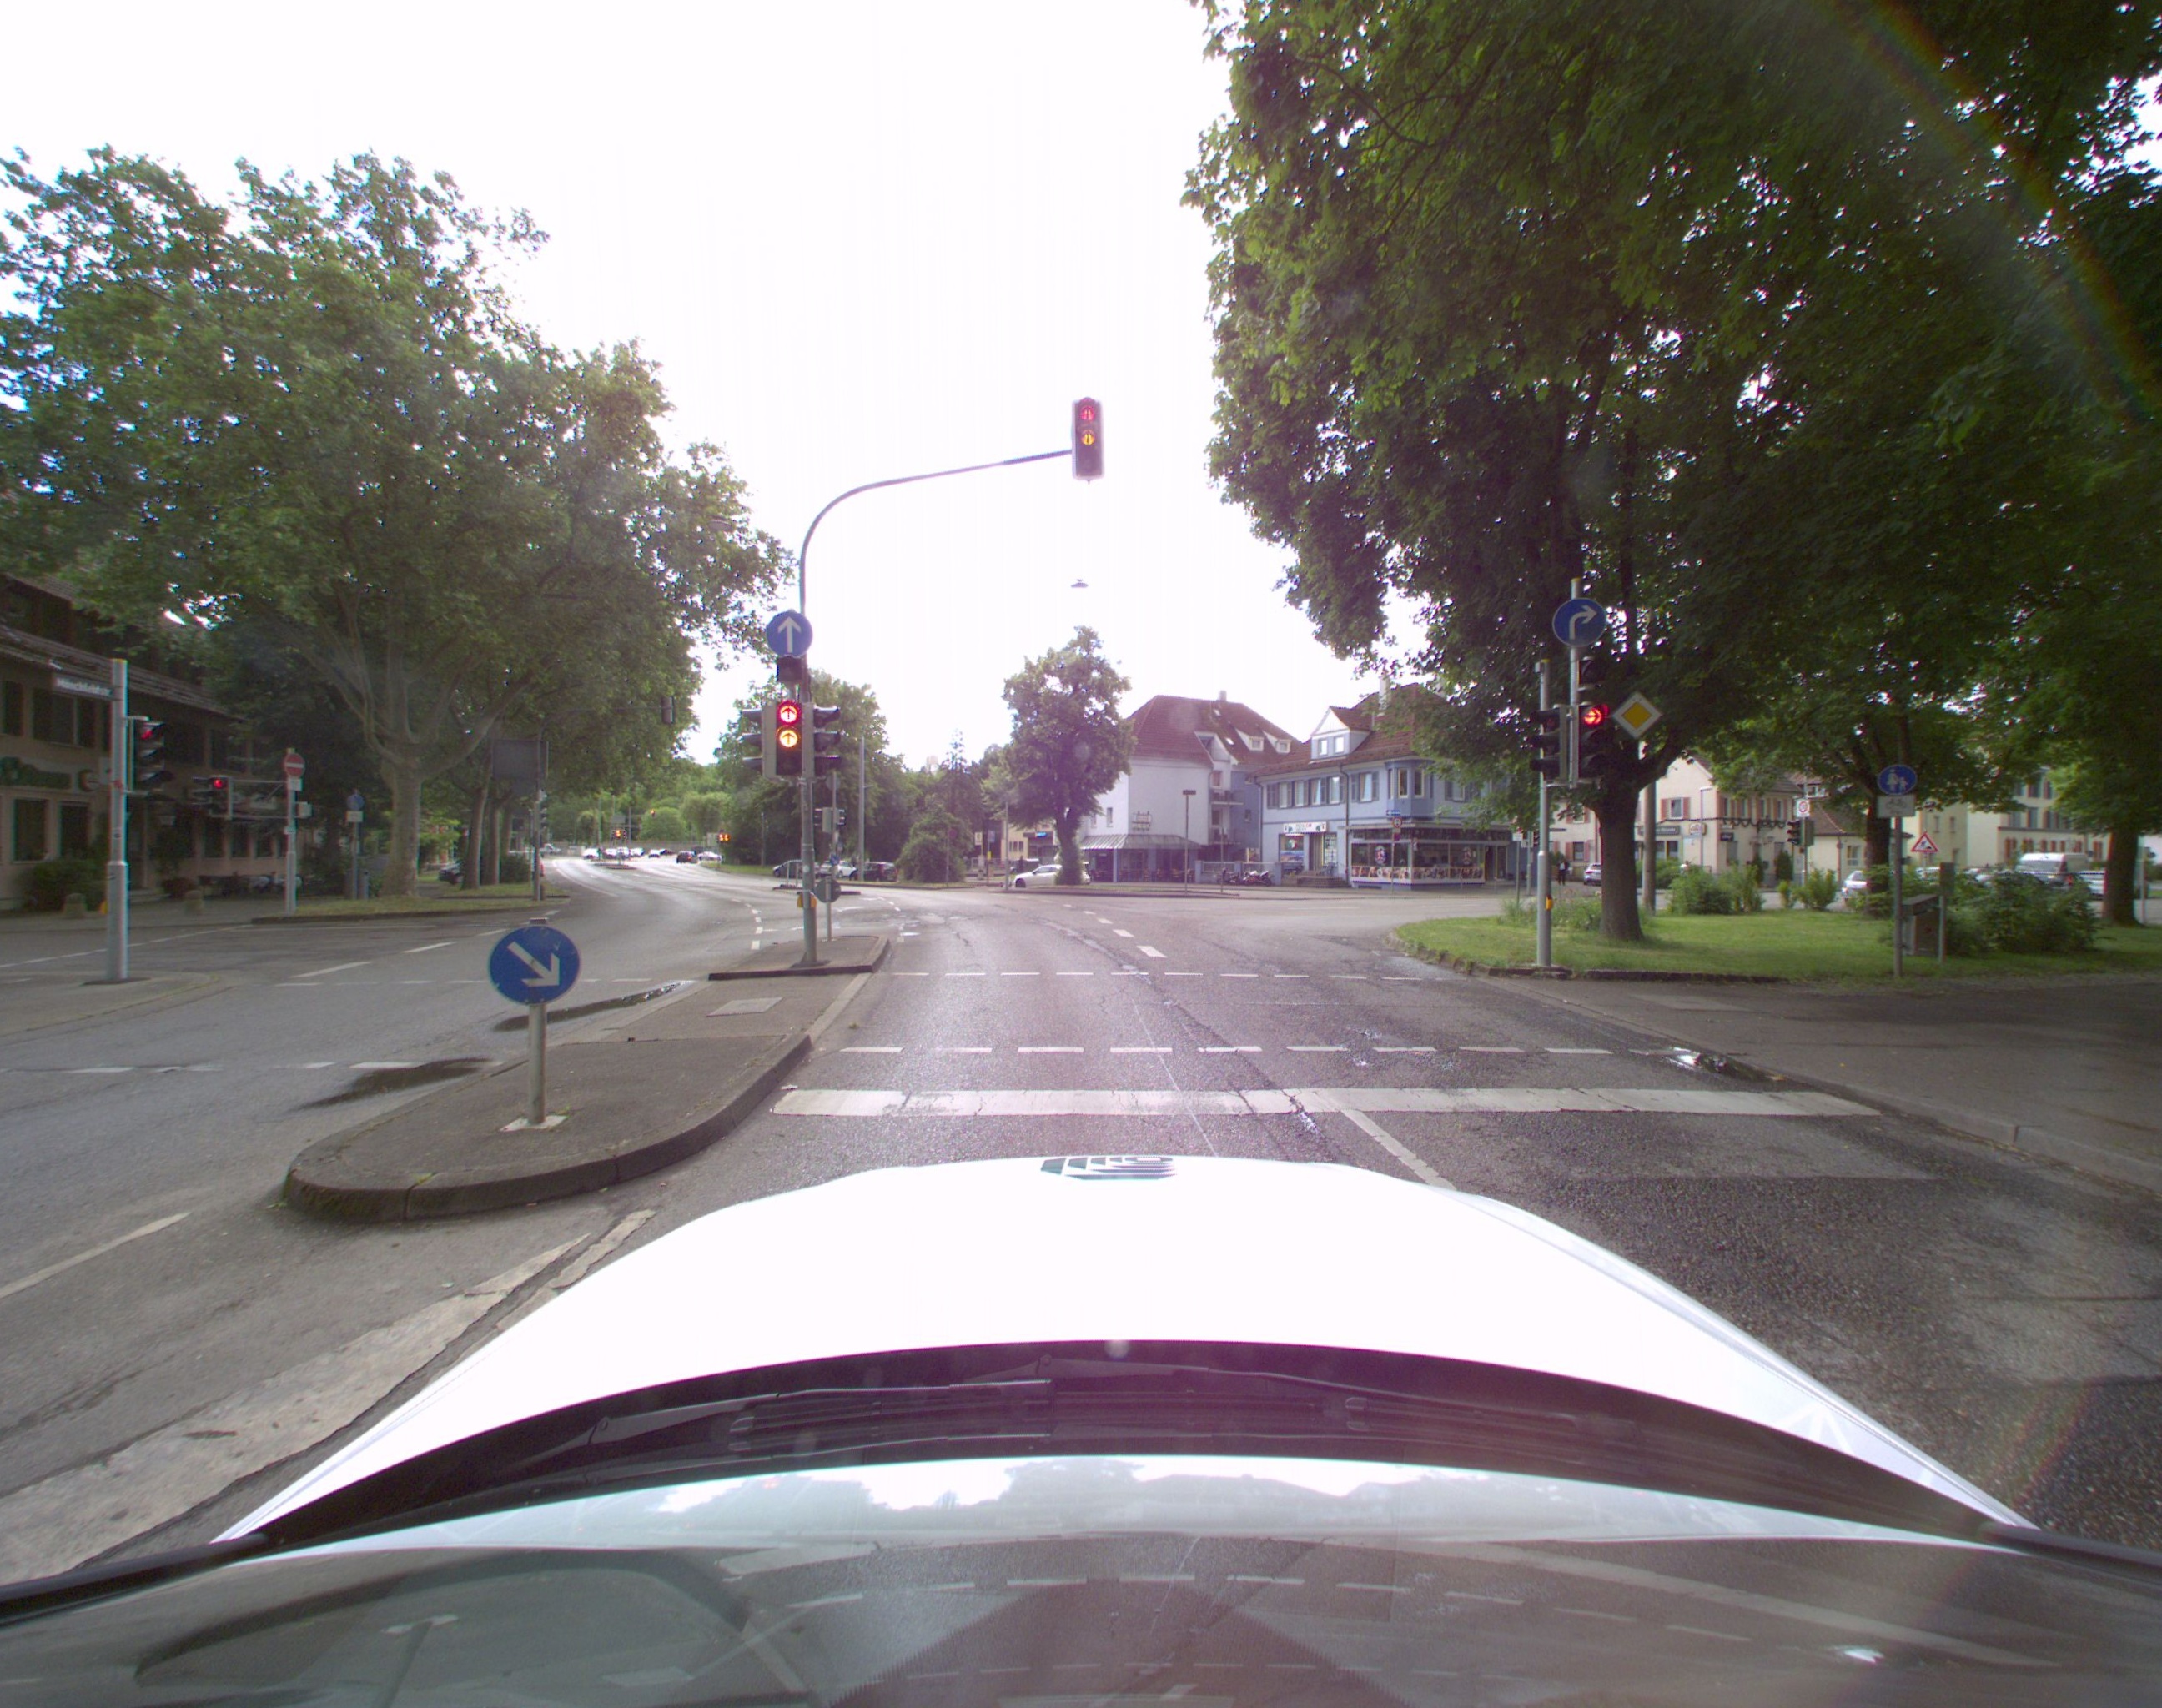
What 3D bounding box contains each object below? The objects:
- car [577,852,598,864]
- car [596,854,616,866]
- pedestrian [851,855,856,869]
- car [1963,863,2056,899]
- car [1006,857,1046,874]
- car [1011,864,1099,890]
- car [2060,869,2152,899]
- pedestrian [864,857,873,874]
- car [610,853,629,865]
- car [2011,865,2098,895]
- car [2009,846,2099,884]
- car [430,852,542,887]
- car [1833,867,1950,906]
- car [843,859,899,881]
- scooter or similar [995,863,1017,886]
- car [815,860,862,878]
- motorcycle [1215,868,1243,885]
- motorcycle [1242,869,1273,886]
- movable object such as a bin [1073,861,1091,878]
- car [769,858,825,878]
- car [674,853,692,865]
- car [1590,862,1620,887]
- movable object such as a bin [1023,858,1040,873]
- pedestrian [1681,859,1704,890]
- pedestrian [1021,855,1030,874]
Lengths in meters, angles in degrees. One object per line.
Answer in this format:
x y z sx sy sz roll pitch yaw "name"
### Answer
-64.762 0.525 106.866 1.770 1.466 3.989 1 -1 -24 "car"
-71.003 0.897 121.799 1.803 1.586 4.384 -2 2 -22 "car"
-25.757 0.910 92.298 0.512 1.531 0.773 1 -1 -20 "pedestrian"
42.250 1.191 37.060 4.008 1.572 1.857 0 -1 -27 "car"
-5.174 1.067 76.067 3.428 1.630 1.612 0 0 -23 "car"
-1.508 1.273 45.962 4.726 1.386 2.013 -1 -1 36 "car"
52.717 1.526 41.869 4.407 1.456 1.910 0 -1 -24 "car"
-20.053 1.062 76.805 0.687 1.551 0.736 1 0 -30 "pedestrian"
-74.251 0.802 131.130 1.918 1.763 4.719 0 1 -21 "car"
46.948 1.234 39.271 3.746 1.390 1.725 0 -1 -24 "car"
64.870 0.718 54.305 5.966 2.392 2.318 0 -1 -24 "car"
-36.714 0.904 50.380 2.058 1.931 5.276 0 2 42 "car"
32.927 1.281 33.084 4.552 1.456 1.885 0 -1 -24 "car"
-13.947 1.047 54.114 3.450 1.404 1.583 1 0 30 "car"
-3.951 1.101 42.964 0.407 1.167 1.370 0 -3 28 "scooter or similar"
-20.052 1.235 67.589 1.746 1.380 4.278 1 0 14 "car"
9.069 1.361 49.975 1.703 1.031 0.492 -1 -1 45 "motorcycle"
10.440 1.373 48.231 1.800 0.985 0.525 -1 -1 45 "motorcycle"
0.102 1.351 70.696 1.218 1.395 1.153 0 -1 -20 "movable object such as a bin"
-22.666 1.102 65.021 4.063 1.429 1.743 2 0 24 "car"
-49.788 0.647 101.943 1.833 1.509 4.532 0 0 -28 "car"
32.496 1.252 50.544 1.551 1.462 3.461 0 0 32 "car"
-4.502 1.053 74.221 1.223 1.345 0.986 0 -1 -30 "movable object such as a bin"
33.209 1.099 44.231 0.648 1.697 0.750 1 -1 -27 "pedestrian"
-5.115 0.971 74.919 0.691 1.729 0.605 0 -1 -30 "pedestrian"
